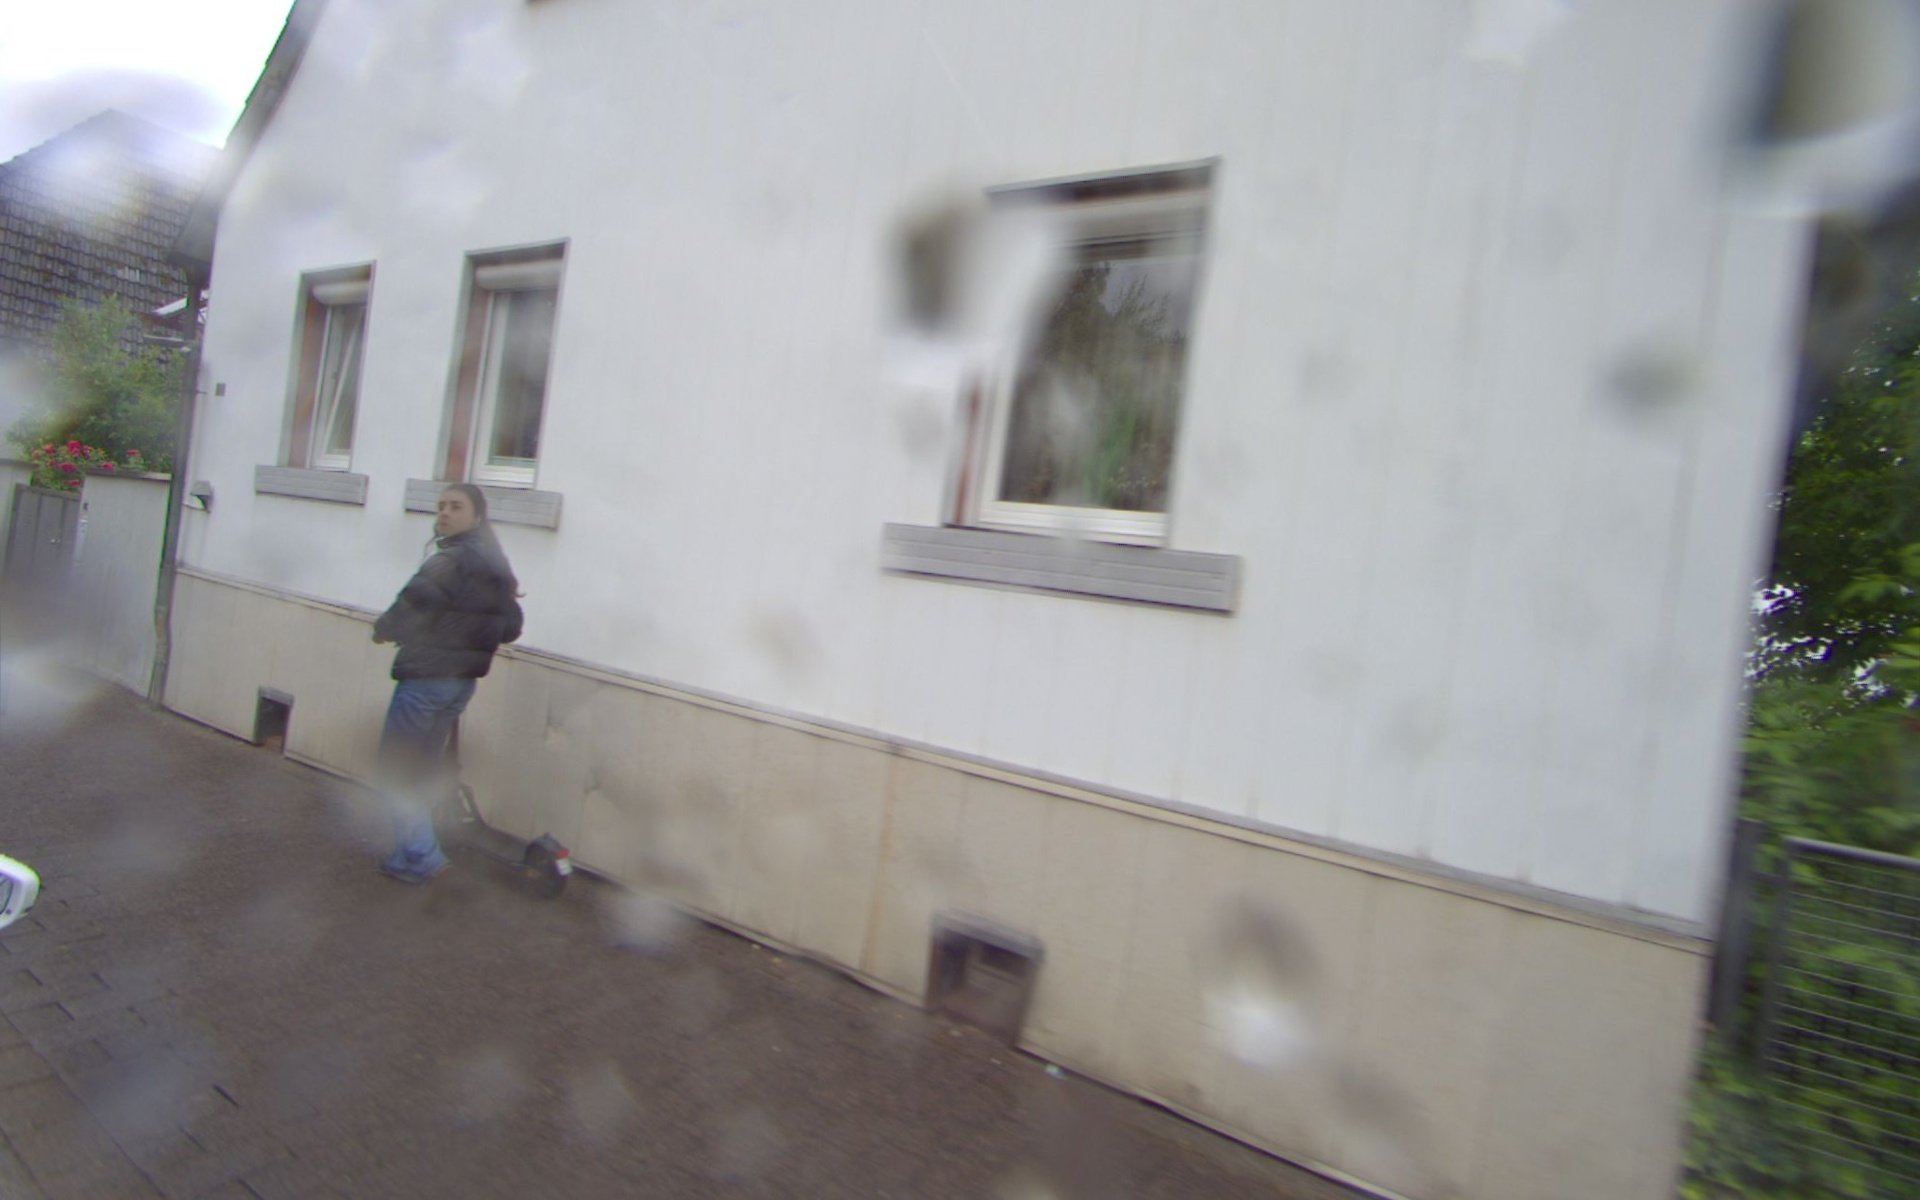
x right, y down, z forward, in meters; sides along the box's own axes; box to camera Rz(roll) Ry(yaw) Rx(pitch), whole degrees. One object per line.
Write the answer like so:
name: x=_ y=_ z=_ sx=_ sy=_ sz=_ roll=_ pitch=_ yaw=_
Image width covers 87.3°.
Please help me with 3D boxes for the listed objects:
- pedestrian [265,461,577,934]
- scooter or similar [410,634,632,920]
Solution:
pedestrian: x=-2.272 y=0.362 z=4.257 sx=0.808 sy=1.753 sz=0.695 roll=7 pitch=0 yaw=33
scooter or similar: x=-1.977 y=0.740 z=4.484 sx=1.082 sy=1.040 sz=0.245 roll=7 pitch=0 yaw=33
